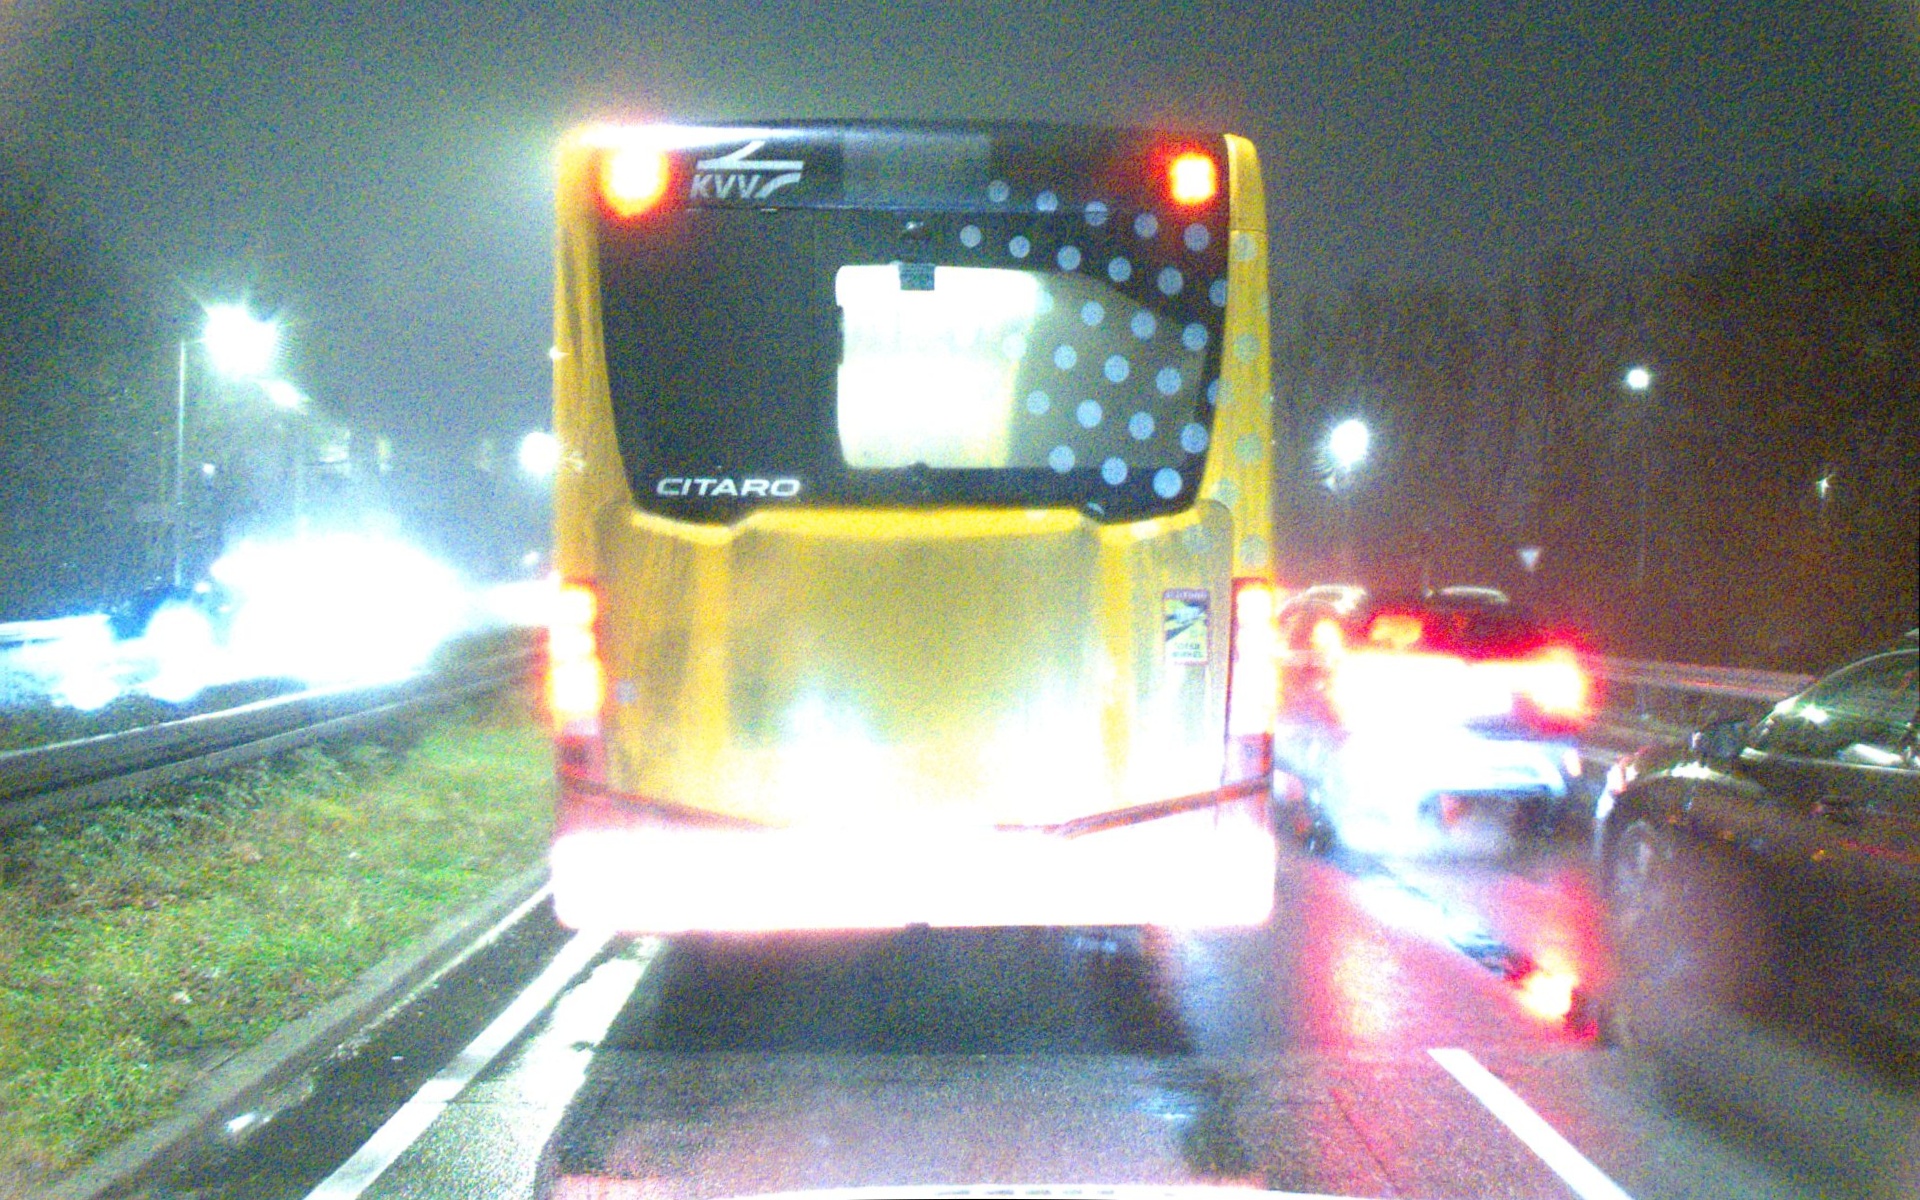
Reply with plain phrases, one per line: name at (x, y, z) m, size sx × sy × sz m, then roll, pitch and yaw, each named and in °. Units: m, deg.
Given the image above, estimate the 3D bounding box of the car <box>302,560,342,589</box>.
car at (-34.460, -1.351, 89.287) m, size 1.776 × 1.508 × 3.786 m, roll 1°, pitch 0°, yaw -24°

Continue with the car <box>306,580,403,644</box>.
car at (-16.295, 0.330, 44.667) m, size 1.837 × 1.636 × 4.236 m, roll 0°, pitch 0°, yaw -12°

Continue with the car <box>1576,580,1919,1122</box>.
car at (3.555, 0.747, 4.918) m, size 1.639 × 1.532 × 4.558 m, roll 2°, pitch 0°, yaw -1°

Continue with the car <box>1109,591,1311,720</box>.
car at (2.836, 0.587, 19.529) m, size 1.652 × 1.353 × 3.959 m, roll 0°, pitch 0°, yaw -2°

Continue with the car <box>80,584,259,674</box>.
car at (-13.920, 0.458, 29.389) m, size 1.681 × 1.448 × 4.656 m, roll 1°, pitch 0°, yaw -10°

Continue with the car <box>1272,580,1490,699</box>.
car at (6.095, 0.537, 24.478) m, size 1.953 × 1.506 × 4.337 m, roll 3°, pitch 0°, yaw -2°

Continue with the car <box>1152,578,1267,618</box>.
car at (10.406, -0.092, 69.088) m, size 4.399 × 1.545 × 1.854 m, roll 1°, pitch 2°, yaw -9°

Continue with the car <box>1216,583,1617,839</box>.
car at (3.113, 0.693, 12.125) m, size 1.644 × 1.548 × 3.957 m, roll 1°, pitch 0°, yaw -3°

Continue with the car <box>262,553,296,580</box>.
car at (-42.589, -2.078, 103.397) m, size 1.720 × 1.528 × 3.966 m, roll 1°, pitch 0°, yaw -26°

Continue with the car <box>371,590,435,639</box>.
car at (-19.569, 0.483, 58.244) m, size 1.735 × 1.659 × 4.236 m, roll 0°, pitch 1°, yaw -13°

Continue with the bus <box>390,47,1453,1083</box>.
bus at (-0.284, -0.235, 9.806) m, size 3.219 × 3.103 × 9.540 m, roll 0°, pitch 2°, yaw -2°
